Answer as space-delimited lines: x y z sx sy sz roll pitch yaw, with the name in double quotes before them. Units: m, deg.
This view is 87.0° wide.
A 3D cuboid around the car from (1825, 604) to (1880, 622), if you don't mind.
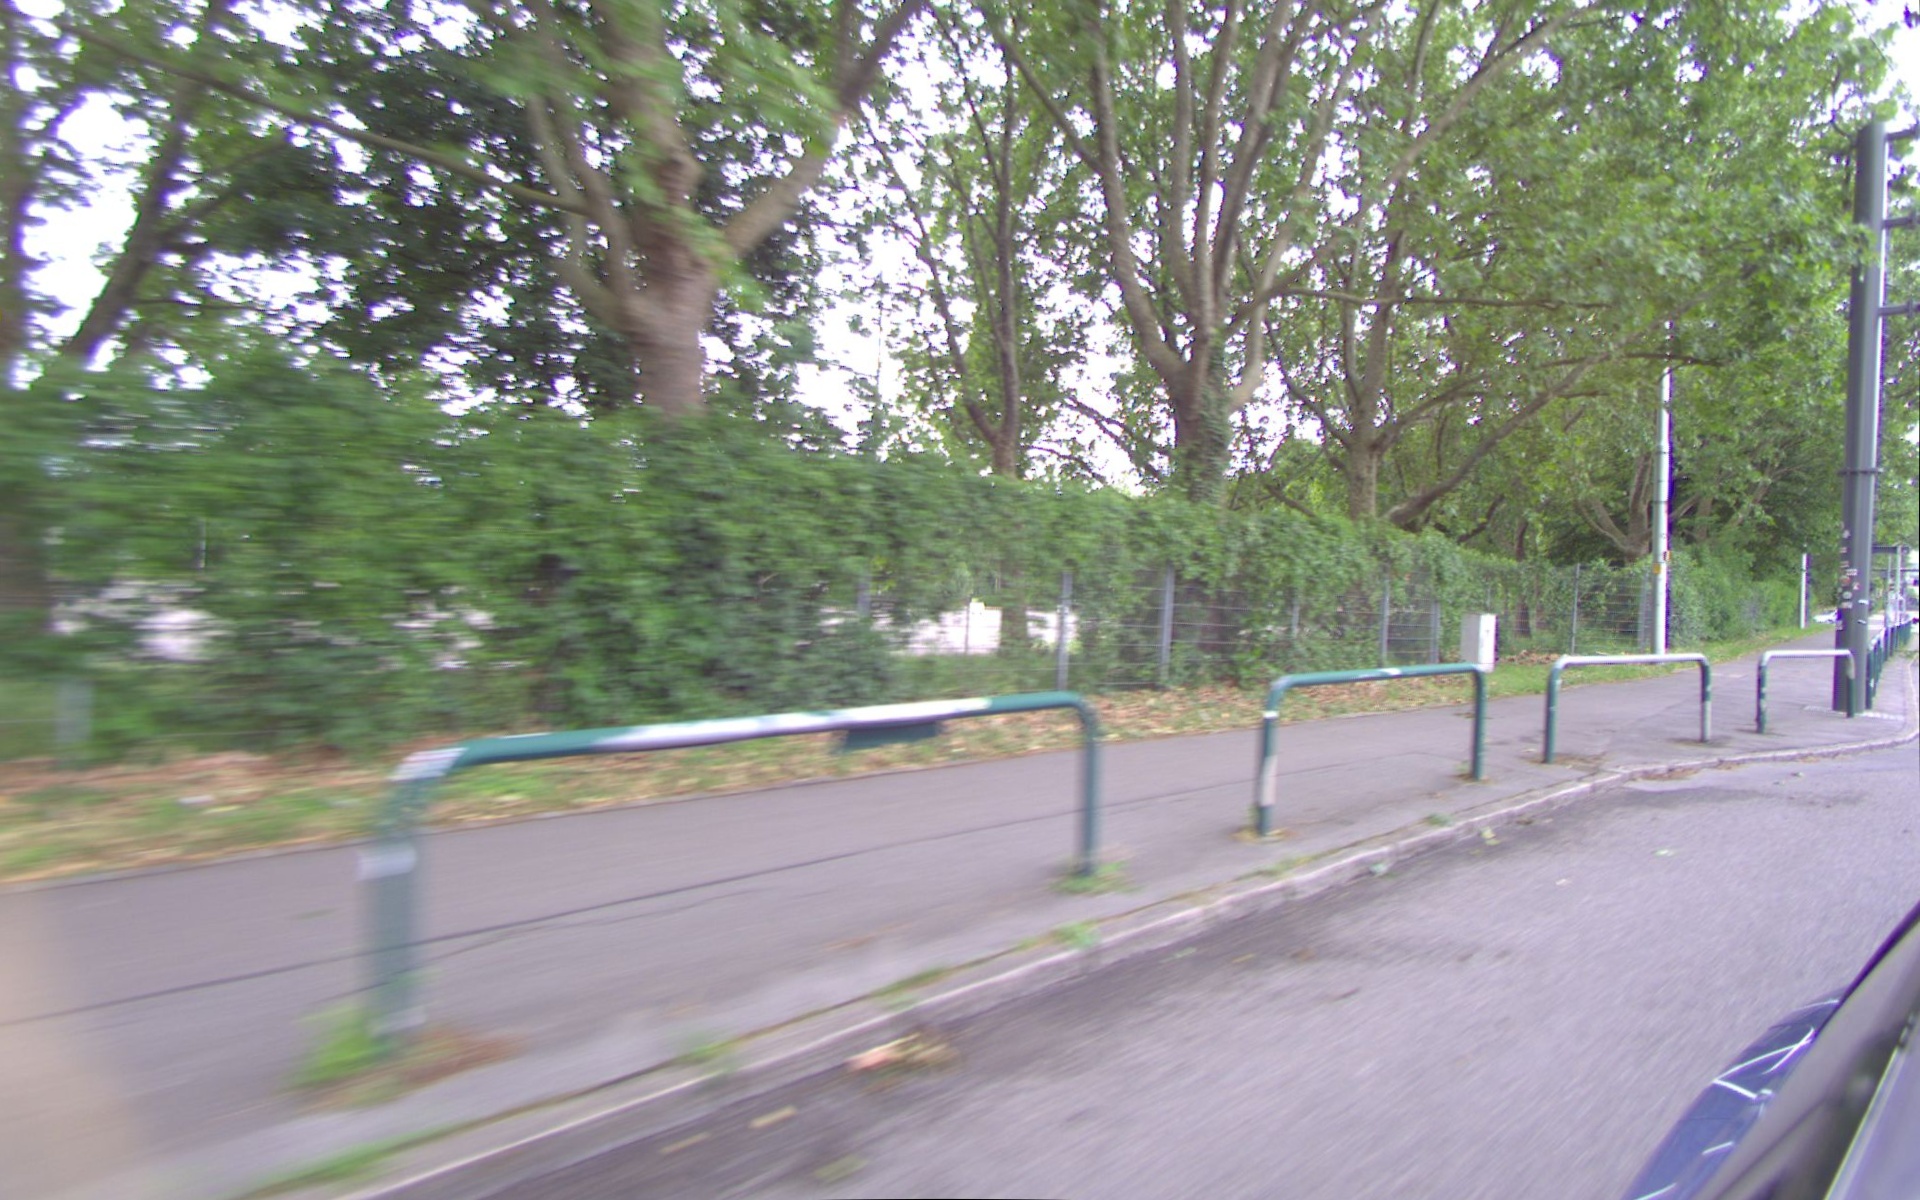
"car" 80.895 1.181 91.740 3.792 1.388 1.746 2 1 -10
